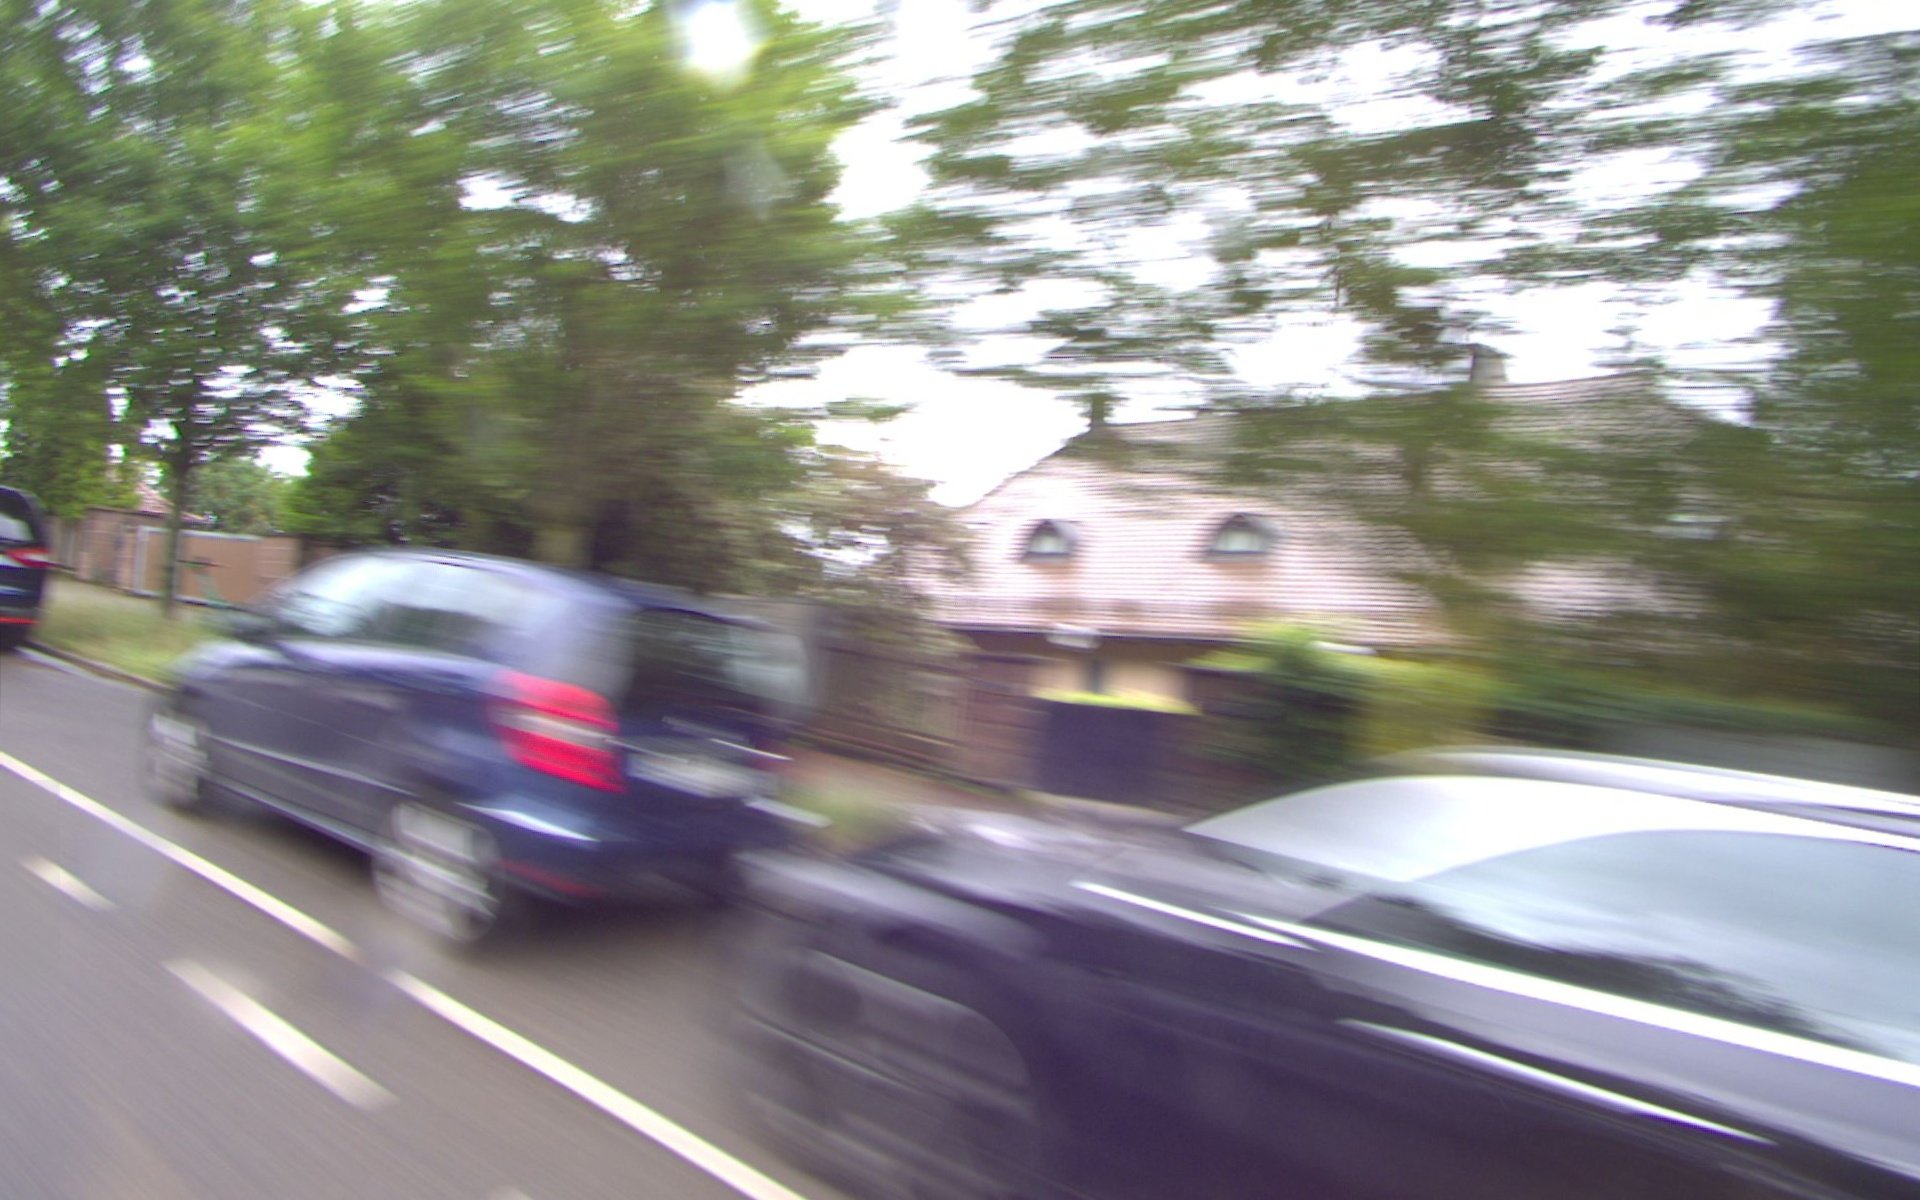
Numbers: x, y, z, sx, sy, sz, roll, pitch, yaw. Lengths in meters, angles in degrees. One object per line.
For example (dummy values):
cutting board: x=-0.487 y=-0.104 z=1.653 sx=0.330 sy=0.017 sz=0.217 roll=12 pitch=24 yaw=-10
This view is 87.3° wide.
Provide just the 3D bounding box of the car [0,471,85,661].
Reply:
car: x=-11.521 y=-0.623 z=10.614 sx=4.598 sy=1.803 sz=1.786 roll=7 pitch=-3 yaw=29

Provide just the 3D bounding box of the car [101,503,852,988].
car: x=-2.706 y=0.528 z=5.385 sx=3.859 sy=1.587 sz=1.697 roll=7 pitch=-3 yaw=33

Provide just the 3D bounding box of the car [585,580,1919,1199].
car: x=1.465 y=1.072 z=2.686 sx=4.770 sy=1.553 sz=1.999 roll=7 pitch=-4 yaw=33
